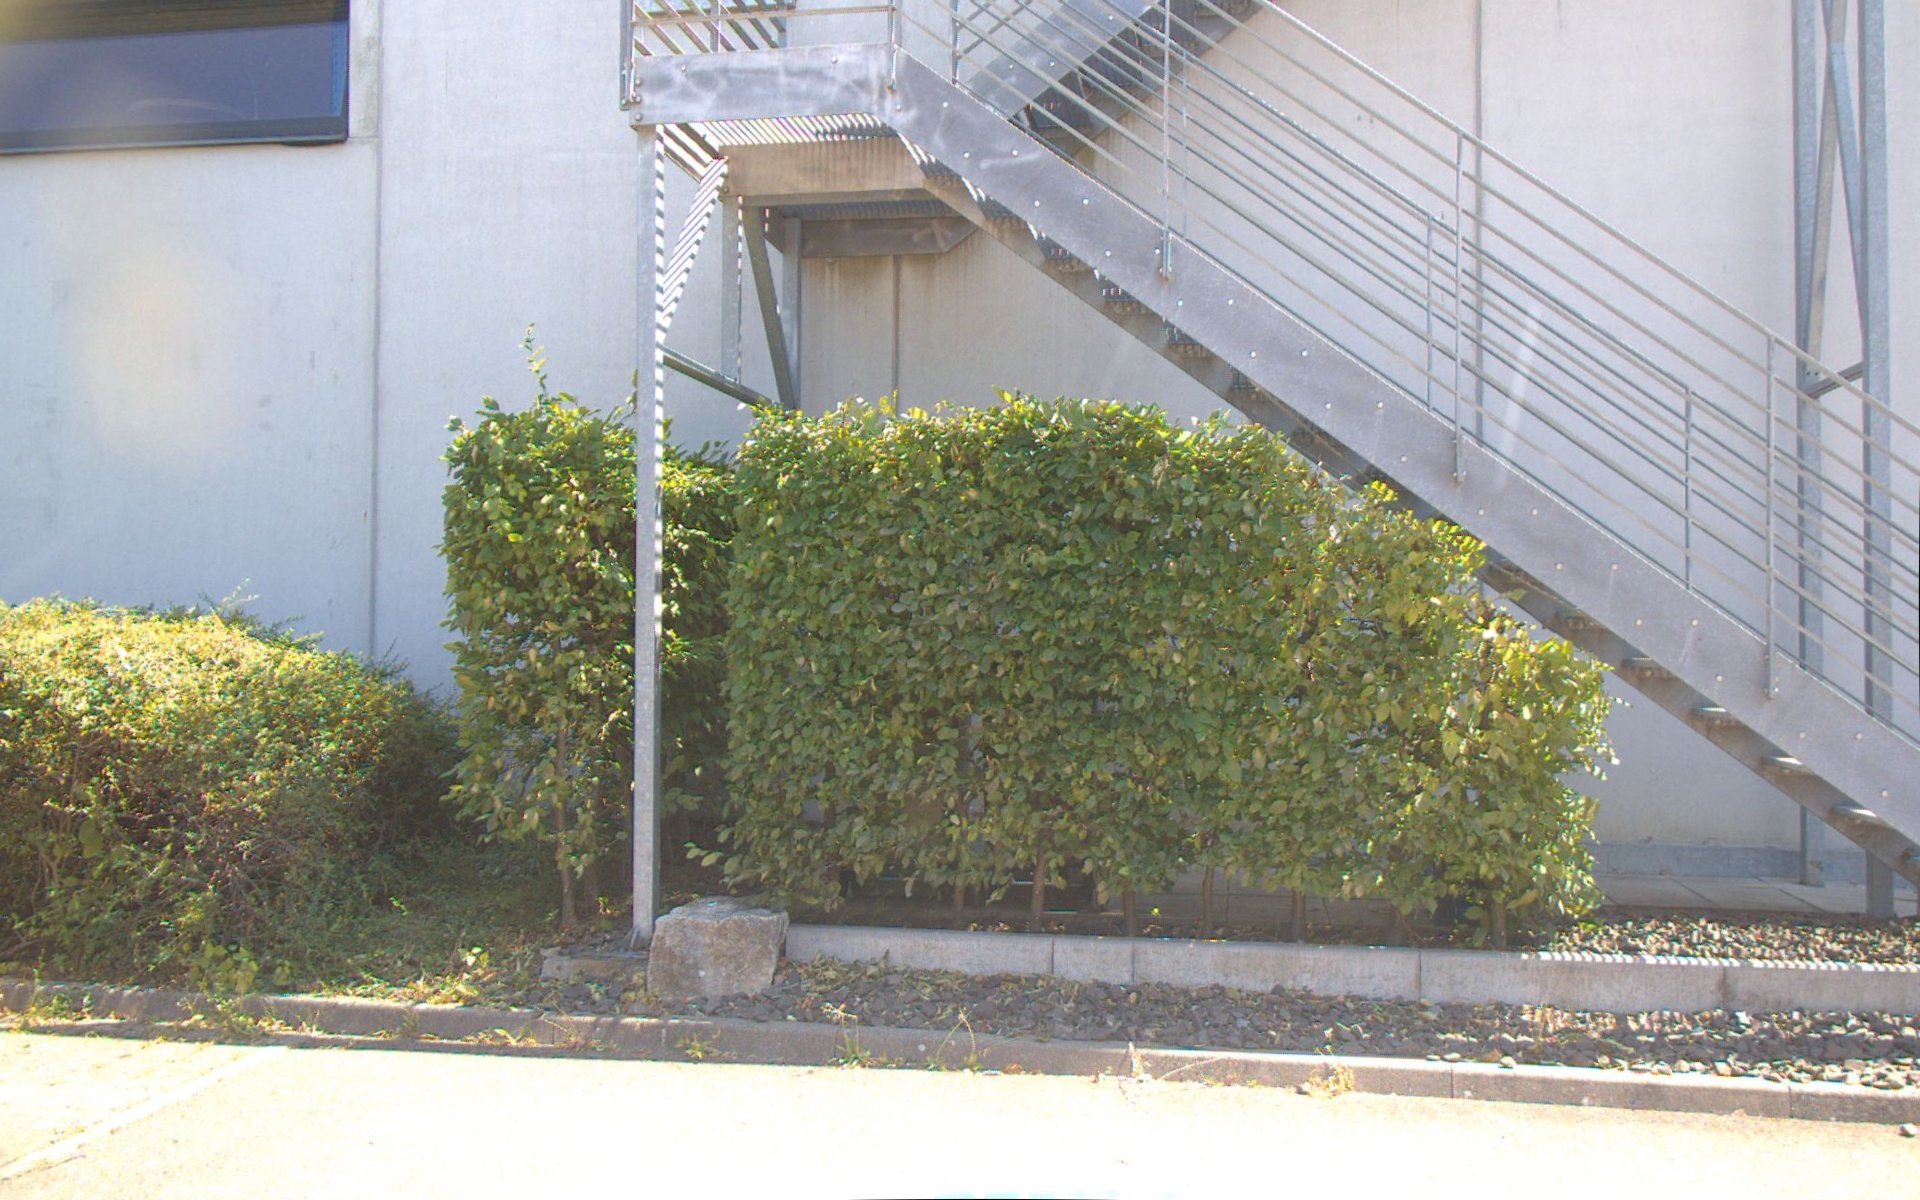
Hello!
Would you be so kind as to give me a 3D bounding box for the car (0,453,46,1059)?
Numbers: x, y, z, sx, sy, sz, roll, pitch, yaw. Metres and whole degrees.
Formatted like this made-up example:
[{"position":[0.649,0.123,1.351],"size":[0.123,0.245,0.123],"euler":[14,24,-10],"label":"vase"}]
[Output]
[{"position":[-5.105,0.484,4.938],"size":[3.971,1.917,1.680],"euler":[0,0,10],"label":"car"}]
